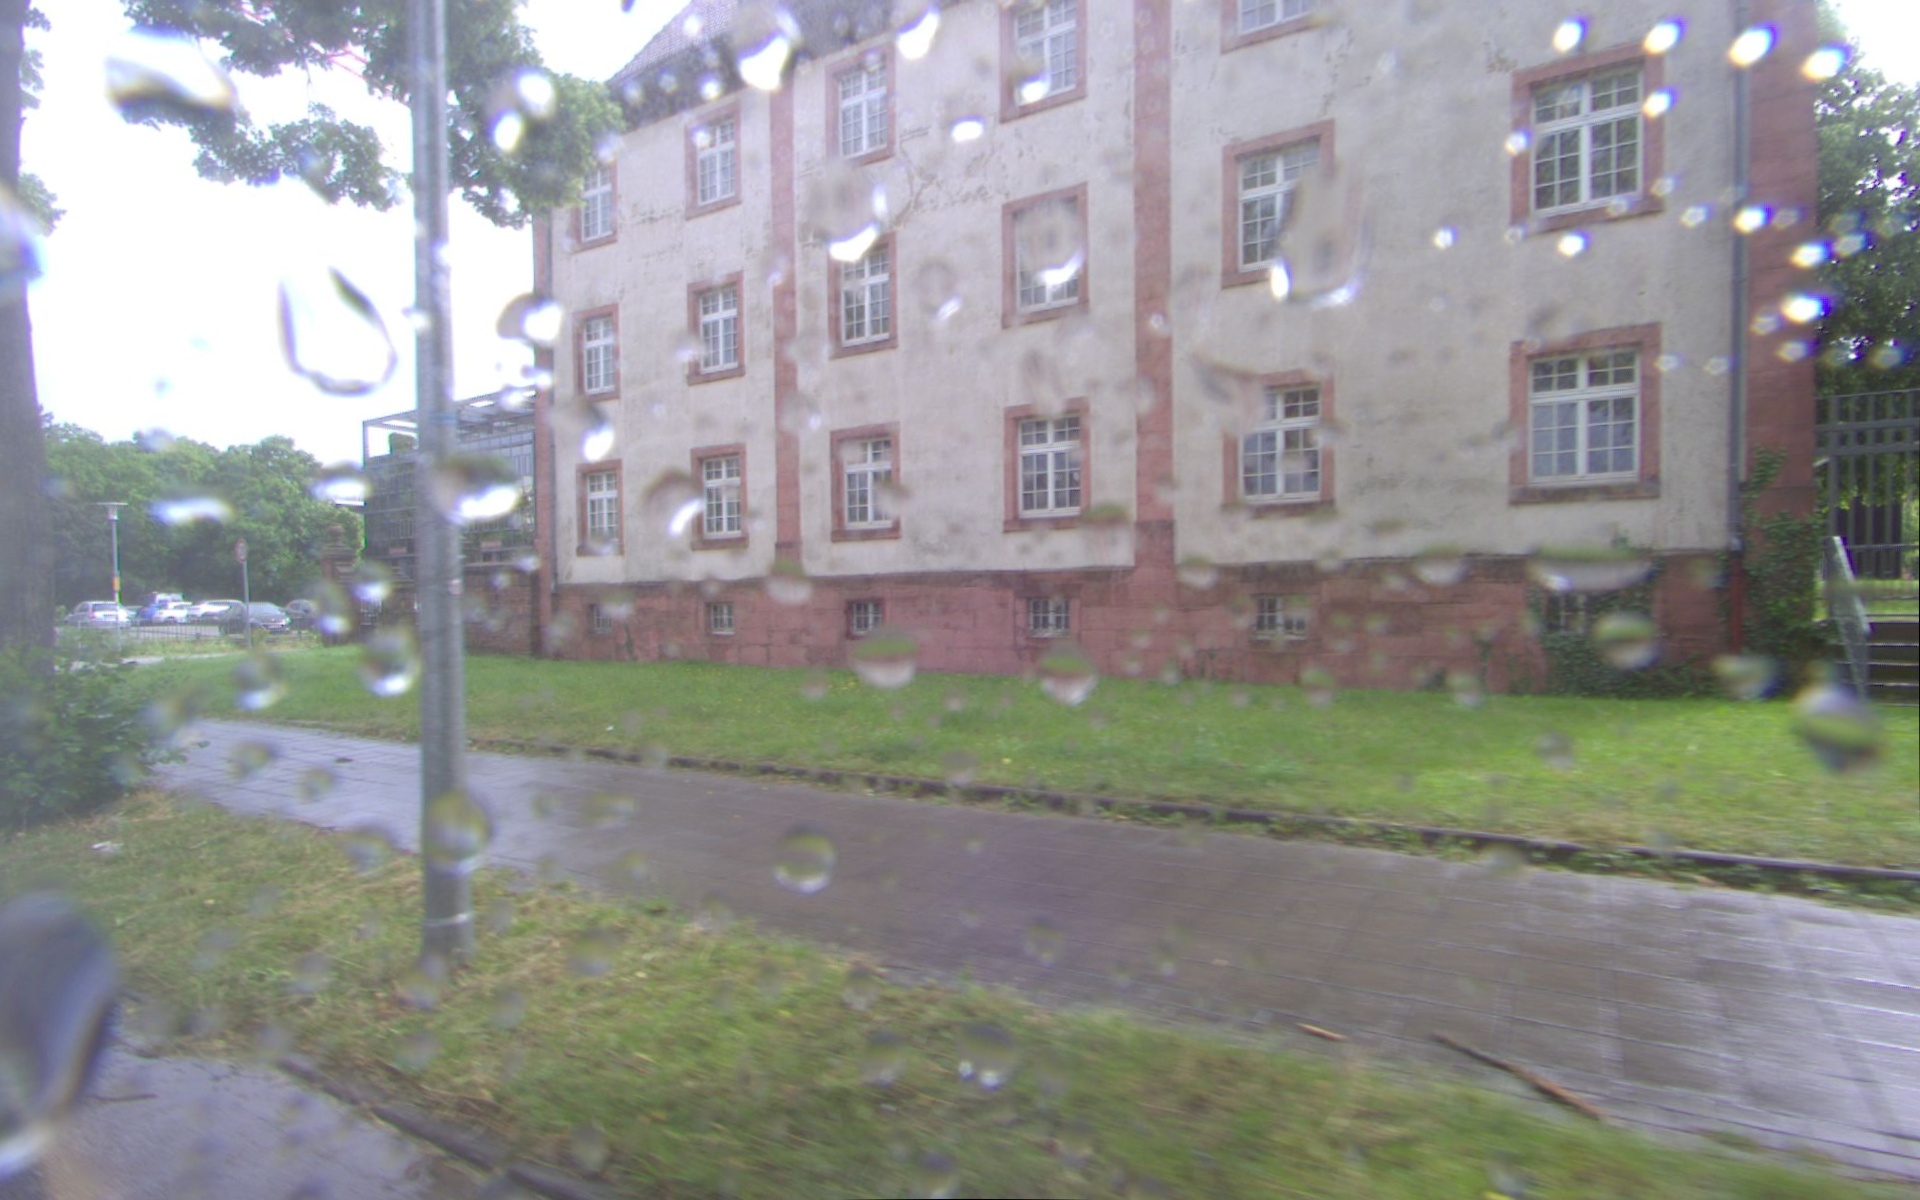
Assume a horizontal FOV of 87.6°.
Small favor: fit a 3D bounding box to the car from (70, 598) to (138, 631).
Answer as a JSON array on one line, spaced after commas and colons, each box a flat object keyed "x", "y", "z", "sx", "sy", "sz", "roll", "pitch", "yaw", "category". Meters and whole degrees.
[{"x": -41.190, "y": 0.670, "z": 48.174, "sx": 3.668, "sy": 1.506, "sz": 1.643, "roll": 0, "pitch": 1, "yaw": 35, "category": "car"}]

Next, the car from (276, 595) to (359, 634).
[{"x": -29.493, "y": 0.631, "z": 45.930, "sx": 4.368, "sy": 1.702, "sz": 1.845, "roll": 0, "pitch": 1, "yaw": 38, "category": "car"}]

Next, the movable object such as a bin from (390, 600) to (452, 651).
[{"x": -16.486, "y": 0.758, "z": 30.642, "sx": 1.371, "sy": 1.477, "sz": 1.103, "roll": 0, "pitch": 2, "yaw": 34, "category": "movable object such as a bin"}]

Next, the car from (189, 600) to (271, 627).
[{"x": -43.830, "y": 0.781, "z": 60.160, "sx": 1.617, "sy": 1.506, "sz": 3.654, "roll": 0, "pitch": 1, "yaw": 35, "category": "car"}]

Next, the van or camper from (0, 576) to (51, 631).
[{"x": -46.474, "y": 0.204, "z": 47.218, "sx": 2.145, "sy": 2.588, "sz": 4.986, "roll": -1, "pitch": 0, "yaw": 33, "category": "van or camper"}]

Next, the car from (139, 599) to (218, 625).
[{"x": -50.246, "y": 0.746, "z": 64.417, "sx": 1.617, "sy": 1.506, "sz": 3.654, "roll": 0, "pitch": 1, "yaw": 35, "category": "car"}]

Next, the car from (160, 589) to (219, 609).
[{"x": -58.123, "y": -0.077, "z": 75.577, "sx": 1.489, "sy": 1.416, "sz": 3.214, "roll": 0, "pitch": 1, "yaw": 35, "category": "car"}]

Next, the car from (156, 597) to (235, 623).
[{"x": -48.152, "y": 0.621, "z": 63.128, "sx": 1.617, "sy": 1.506, "sz": 3.654, "roll": 0, "pitch": 1, "yaw": 35, "category": "car"}]

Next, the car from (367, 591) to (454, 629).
[{"x": -26.150, "y": 0.470, "z": 47.582, "sx": 4.363, "sy": 1.702, "sz": 1.847, "roll": 0, "pitch": 1, "yaw": 35, "category": "car"}]

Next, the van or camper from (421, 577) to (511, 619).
[{"x": -31.871, "y": -0.097, "z": 64.688, "sx": 2.226, "sy": 2.518, "sz": 4.778, "roll": -1, "pitch": -2, "yaw": 32, "category": "van or camper"}]

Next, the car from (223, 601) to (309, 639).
[{"x": -30.399, "y": 0.858, "z": 43.834, "sx": 4.366, "sy": 1.547, "sz": 1.822, "roll": 0, "pitch": 1, "yaw": 37, "category": "car"}]

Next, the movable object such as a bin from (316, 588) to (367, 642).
[{"x": -17.611, "y": 0.408, "z": 28.514, "sx": 1.081, "sy": 1.477, "sz": 0.797, "roll": 0, "pitch": 3, "yaw": 34, "category": "movable object such as a bin"}]
